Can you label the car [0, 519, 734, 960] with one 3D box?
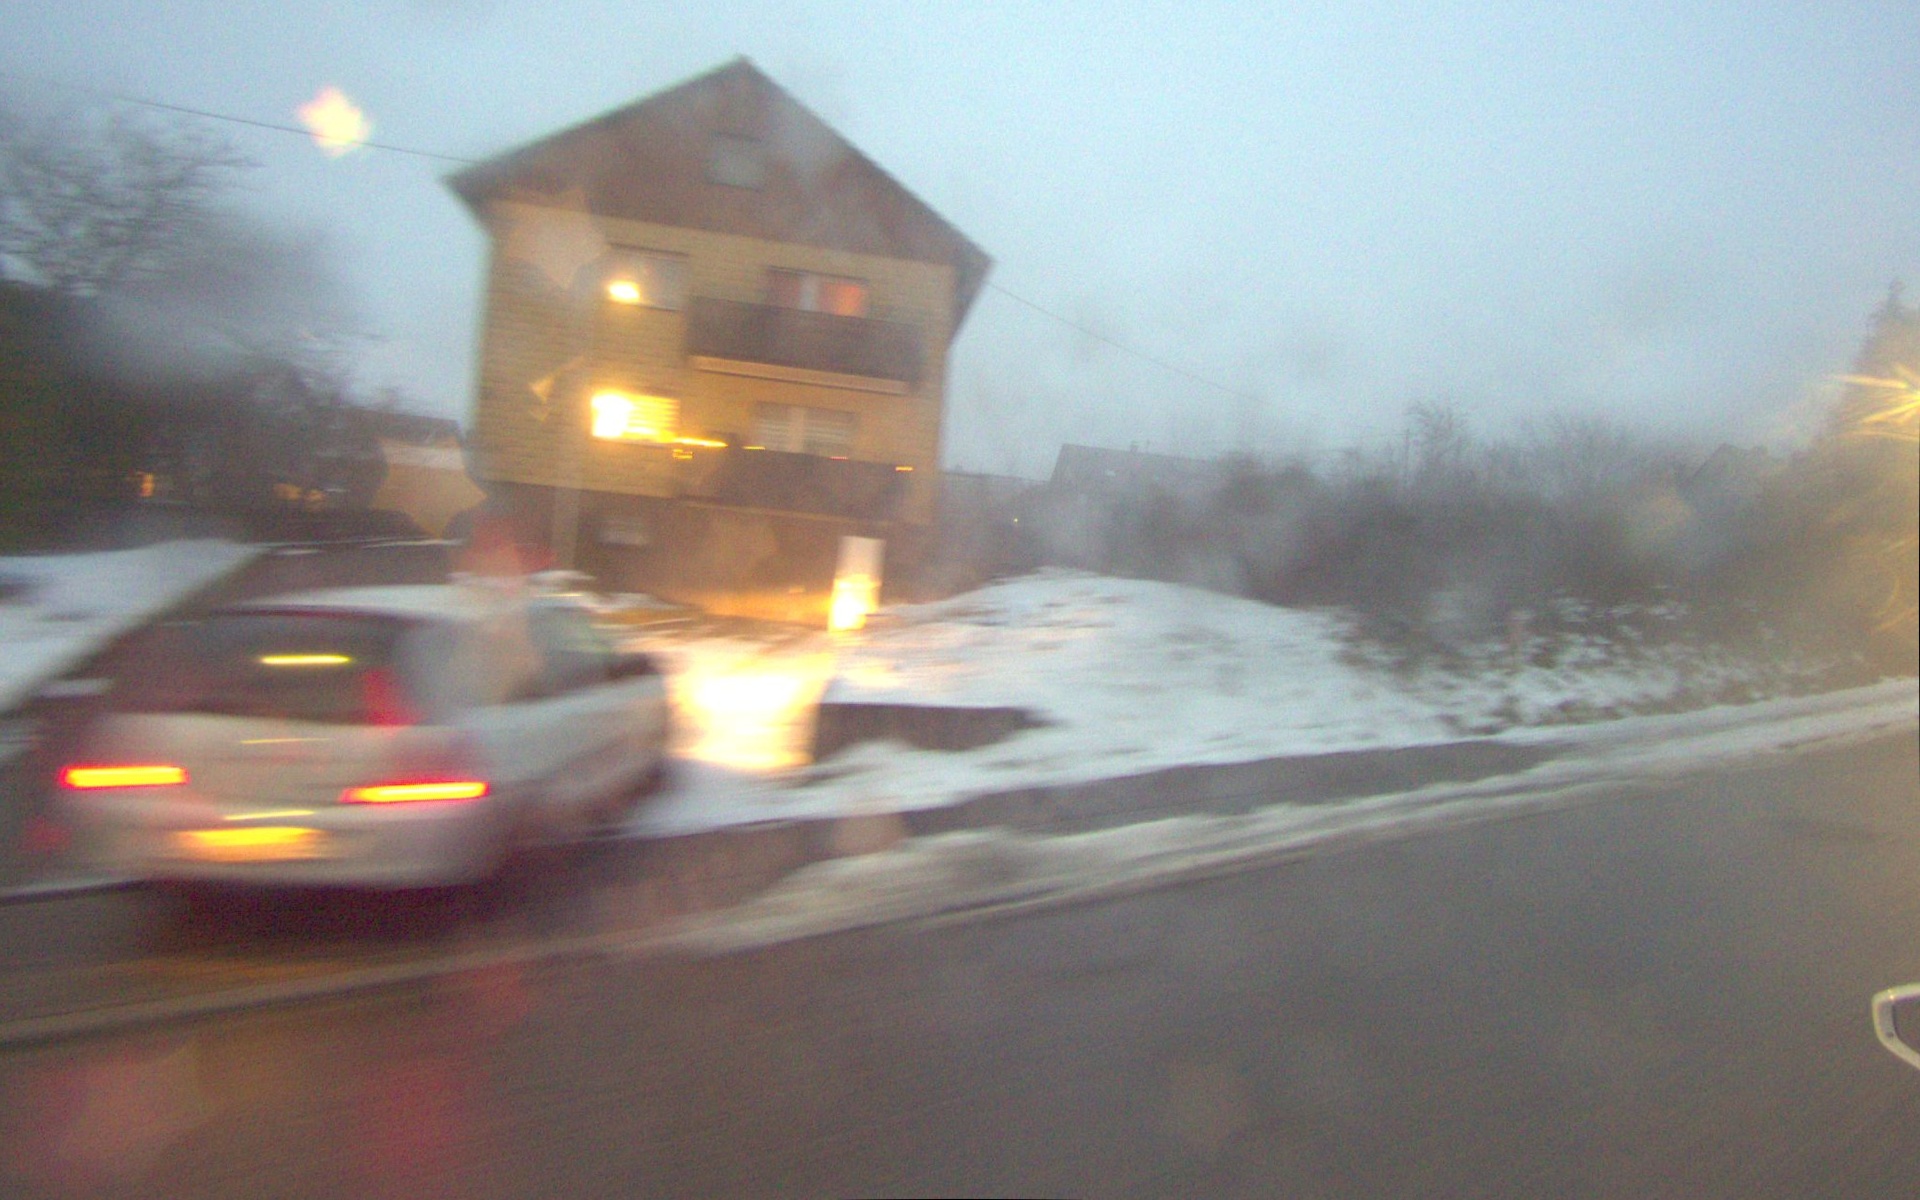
[{"bbox_3d":[-2.811,0.440,5.907,1.866,1.631,4.000,3,3,2],"label":"car"}]
